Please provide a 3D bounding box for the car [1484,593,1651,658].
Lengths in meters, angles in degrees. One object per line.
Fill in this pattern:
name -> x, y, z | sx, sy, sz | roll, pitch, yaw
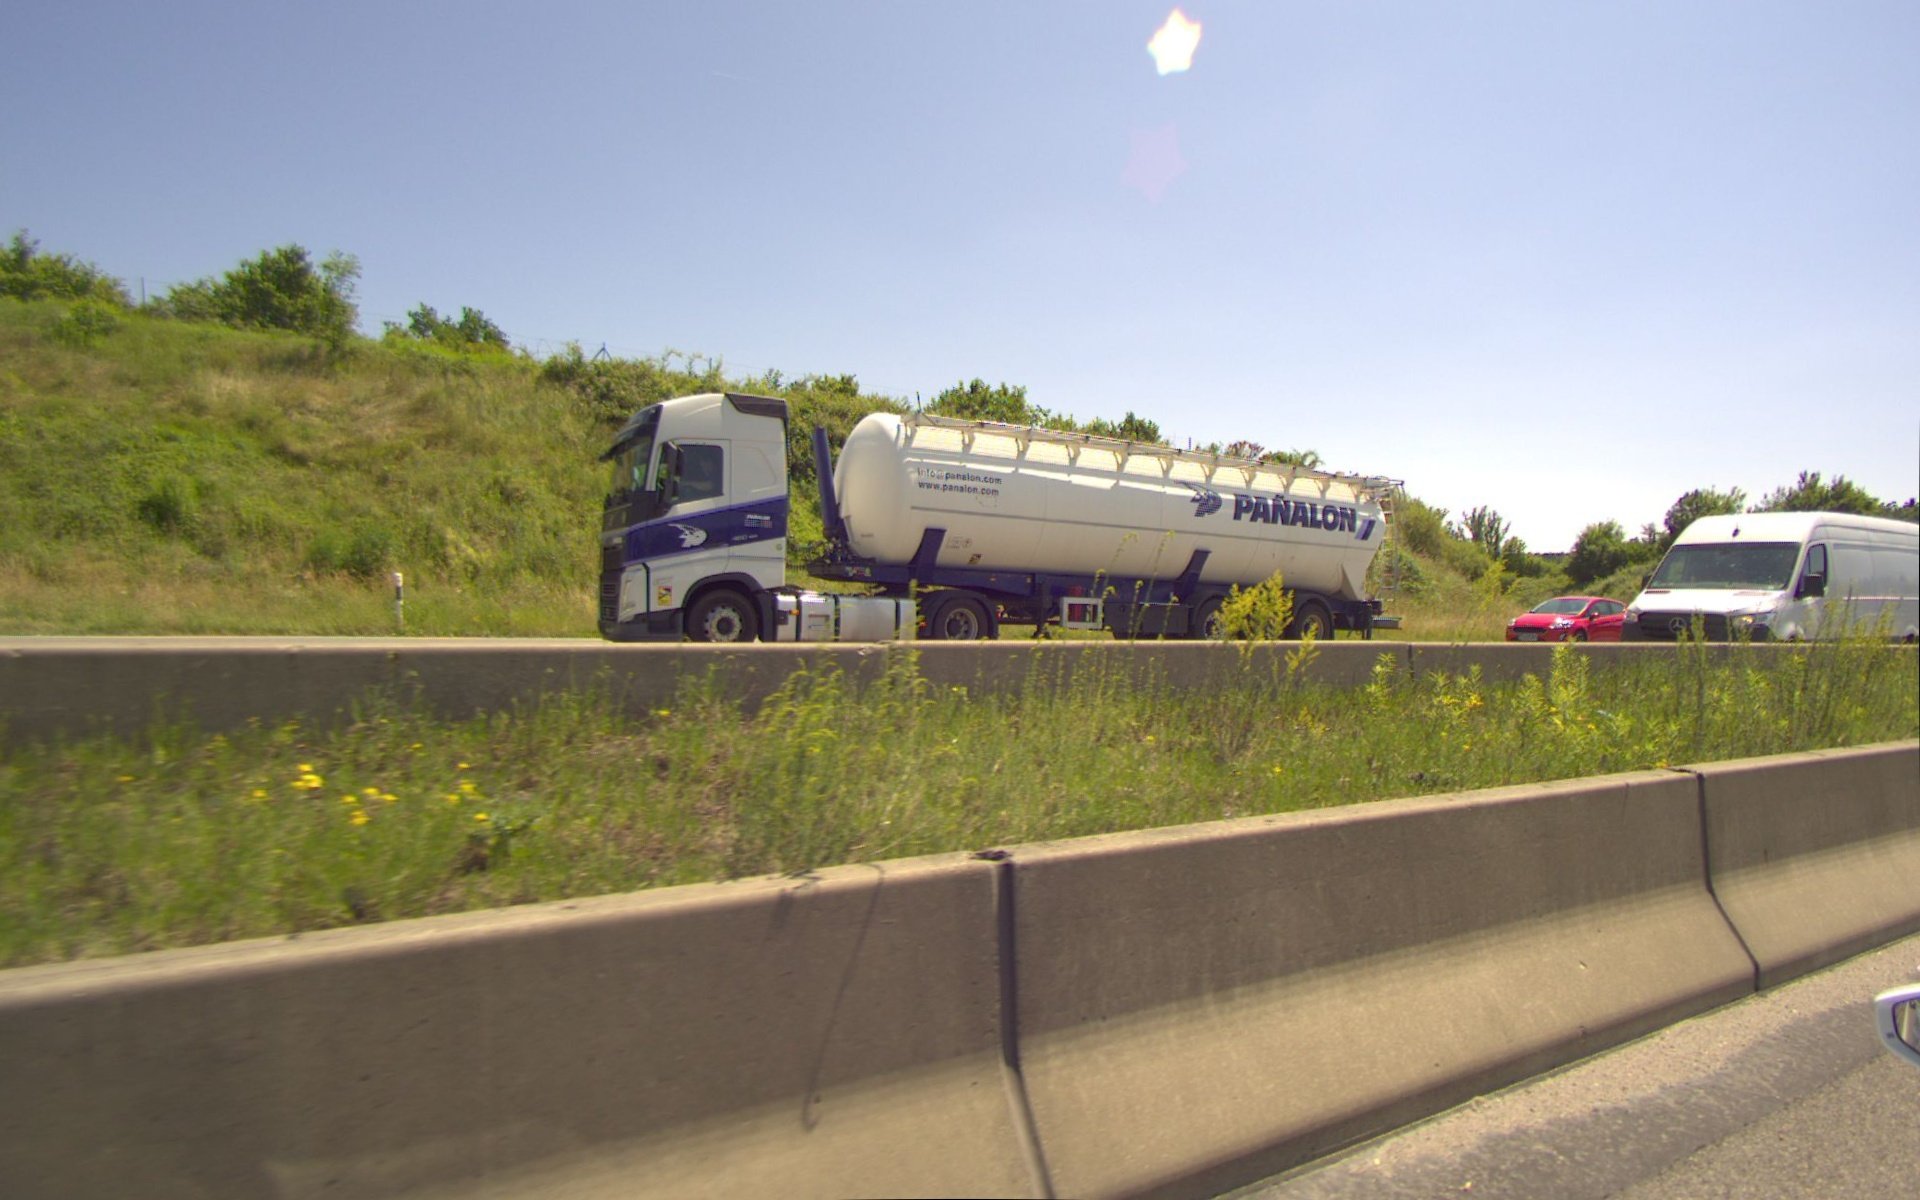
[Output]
car -> 15.909, 0.674, 26.271 | 4.531, 1.559, 1.787 | 2, 0, -30

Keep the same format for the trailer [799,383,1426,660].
trailer -> 3.607, -0.964, 19.093 | 13.094, 4.002, 2.665 | 2, -1, -31

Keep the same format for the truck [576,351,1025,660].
truck -> -2.363, -1.129, 15.501 | 6.243, 3.930, 2.679 | 2, 0, -30

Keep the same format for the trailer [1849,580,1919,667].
trailer -> 27.645, 0.699, 28.425 | 5.102, 2.240, 2.079 | 2, 4, -30

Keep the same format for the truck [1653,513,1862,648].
truck -> 25.694, -0.604, 32.387 | 5.383, 3.929, 3.437 | 2, 2, -31

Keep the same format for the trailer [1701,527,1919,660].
trailer -> 31.265, -0.181, 35.750 | 11.402, 4.148, 3.561 | 1, 2, -30

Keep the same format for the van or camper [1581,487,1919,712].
van or camper -> 12.971, 0.038, 15.729 | 7.551, 2.916, 1.984 | 2, 4, -30
